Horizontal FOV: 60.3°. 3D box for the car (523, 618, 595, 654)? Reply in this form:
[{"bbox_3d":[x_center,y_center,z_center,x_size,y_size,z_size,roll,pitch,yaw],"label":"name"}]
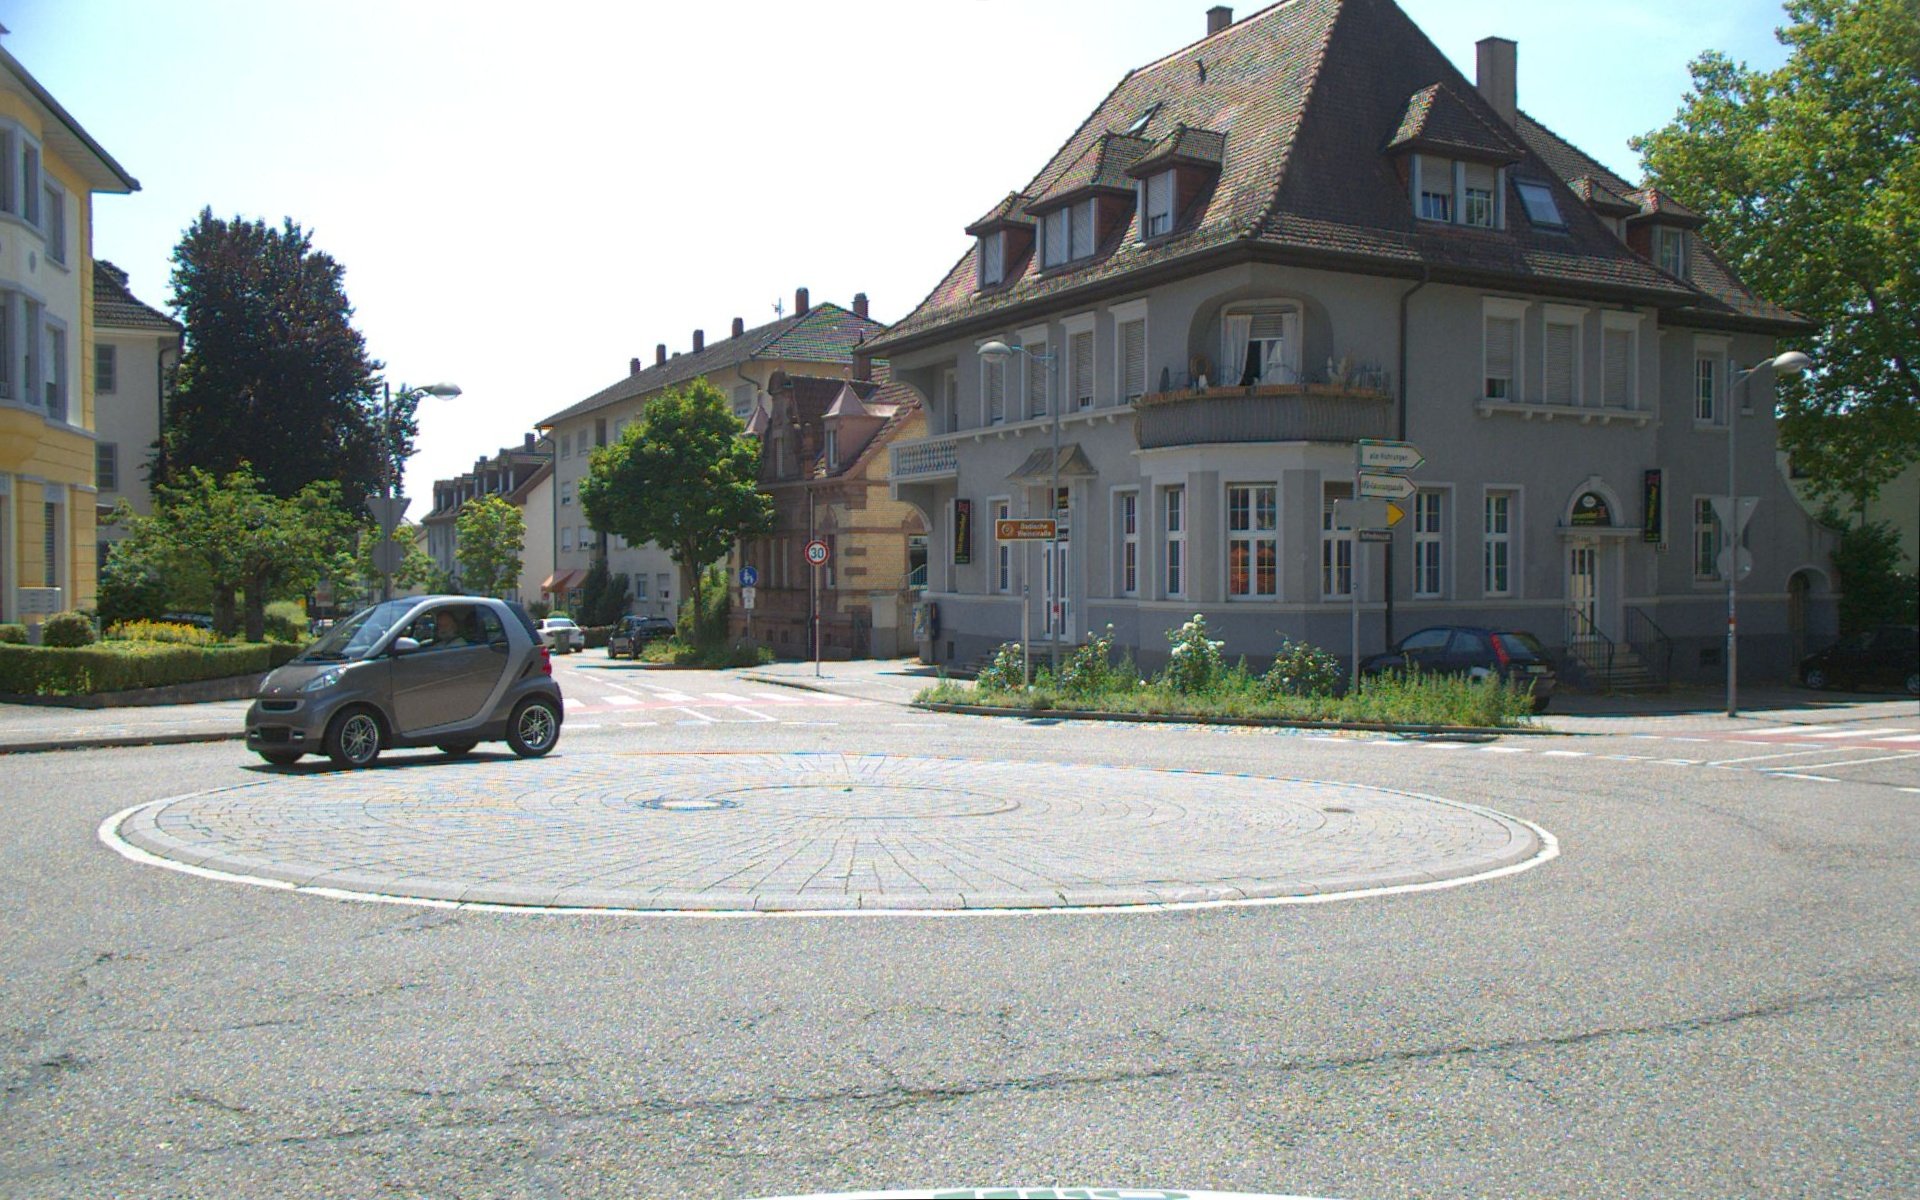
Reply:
[{"bbox_3d":[-17.686,1.549,72.839,1.972,1.535,4.376,1,-1,-29],"label":"car"}]

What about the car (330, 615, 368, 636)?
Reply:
[{"bbox_3d":[-45.845,1.936,124.052,1.972,1.535,4.376,1,-1,-29],"label":"car"}]

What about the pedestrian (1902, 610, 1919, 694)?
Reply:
[{"bbox_3d":[20.763,1.106,35.226,1.100,1.773,0.863,1,-1,-37],"label":"pedestrian"}]

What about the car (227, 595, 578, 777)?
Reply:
[{"bbox_3d":[-5.245,0.753,15.722,1.542,1.557,2.771,0,-1,42],"label":"car"}]

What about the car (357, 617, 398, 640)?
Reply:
[{"bbox_3d":[-40.106,1.932,113.893,1.972,1.535,4.376,1,-1,-29],"label":"car"}]

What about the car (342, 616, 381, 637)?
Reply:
[{"bbox_3d":[-43.050,1.896,118.917,1.972,1.535,4.376,1,-1,-29],"label":"car"}]

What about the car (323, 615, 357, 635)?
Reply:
[{"bbox_3d":[-48.256,1.934,128.727,1.971,1.514,3.962,2,-1,-28],"label":"car"}]

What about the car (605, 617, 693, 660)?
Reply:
[{"bbox_3d":[-11.759,1.419,62.320,1.972,1.535,4.376,1,-1,-29],"label":"car"}]

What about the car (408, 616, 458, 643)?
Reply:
[{"bbox_3d":[-30.626,1.716,96.041,1.972,1.535,4.376,1,-1,-29],"label":"car"}]

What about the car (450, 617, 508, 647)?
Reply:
[{"bbox_3d":[-25.103,1.652,86.242,1.972,1.535,4.376,1,-1,-29],"label":"car"}]

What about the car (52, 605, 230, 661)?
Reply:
[{"bbox_3d":[-23.511,0.942,47.537,4.369,1.535,1.975,1,-1,-36],"label":"car"}]

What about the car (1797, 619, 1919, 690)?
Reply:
[{"bbox_3d":[21.537,1.247,38.455,1.703,1.574,3.354,1,-1,-33],"label":"car"}]

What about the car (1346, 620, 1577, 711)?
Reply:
[{"bbox_3d":[8.830,1.114,29.366,1.703,1.486,3.749,1,-1,-33],"label":"car"}]
